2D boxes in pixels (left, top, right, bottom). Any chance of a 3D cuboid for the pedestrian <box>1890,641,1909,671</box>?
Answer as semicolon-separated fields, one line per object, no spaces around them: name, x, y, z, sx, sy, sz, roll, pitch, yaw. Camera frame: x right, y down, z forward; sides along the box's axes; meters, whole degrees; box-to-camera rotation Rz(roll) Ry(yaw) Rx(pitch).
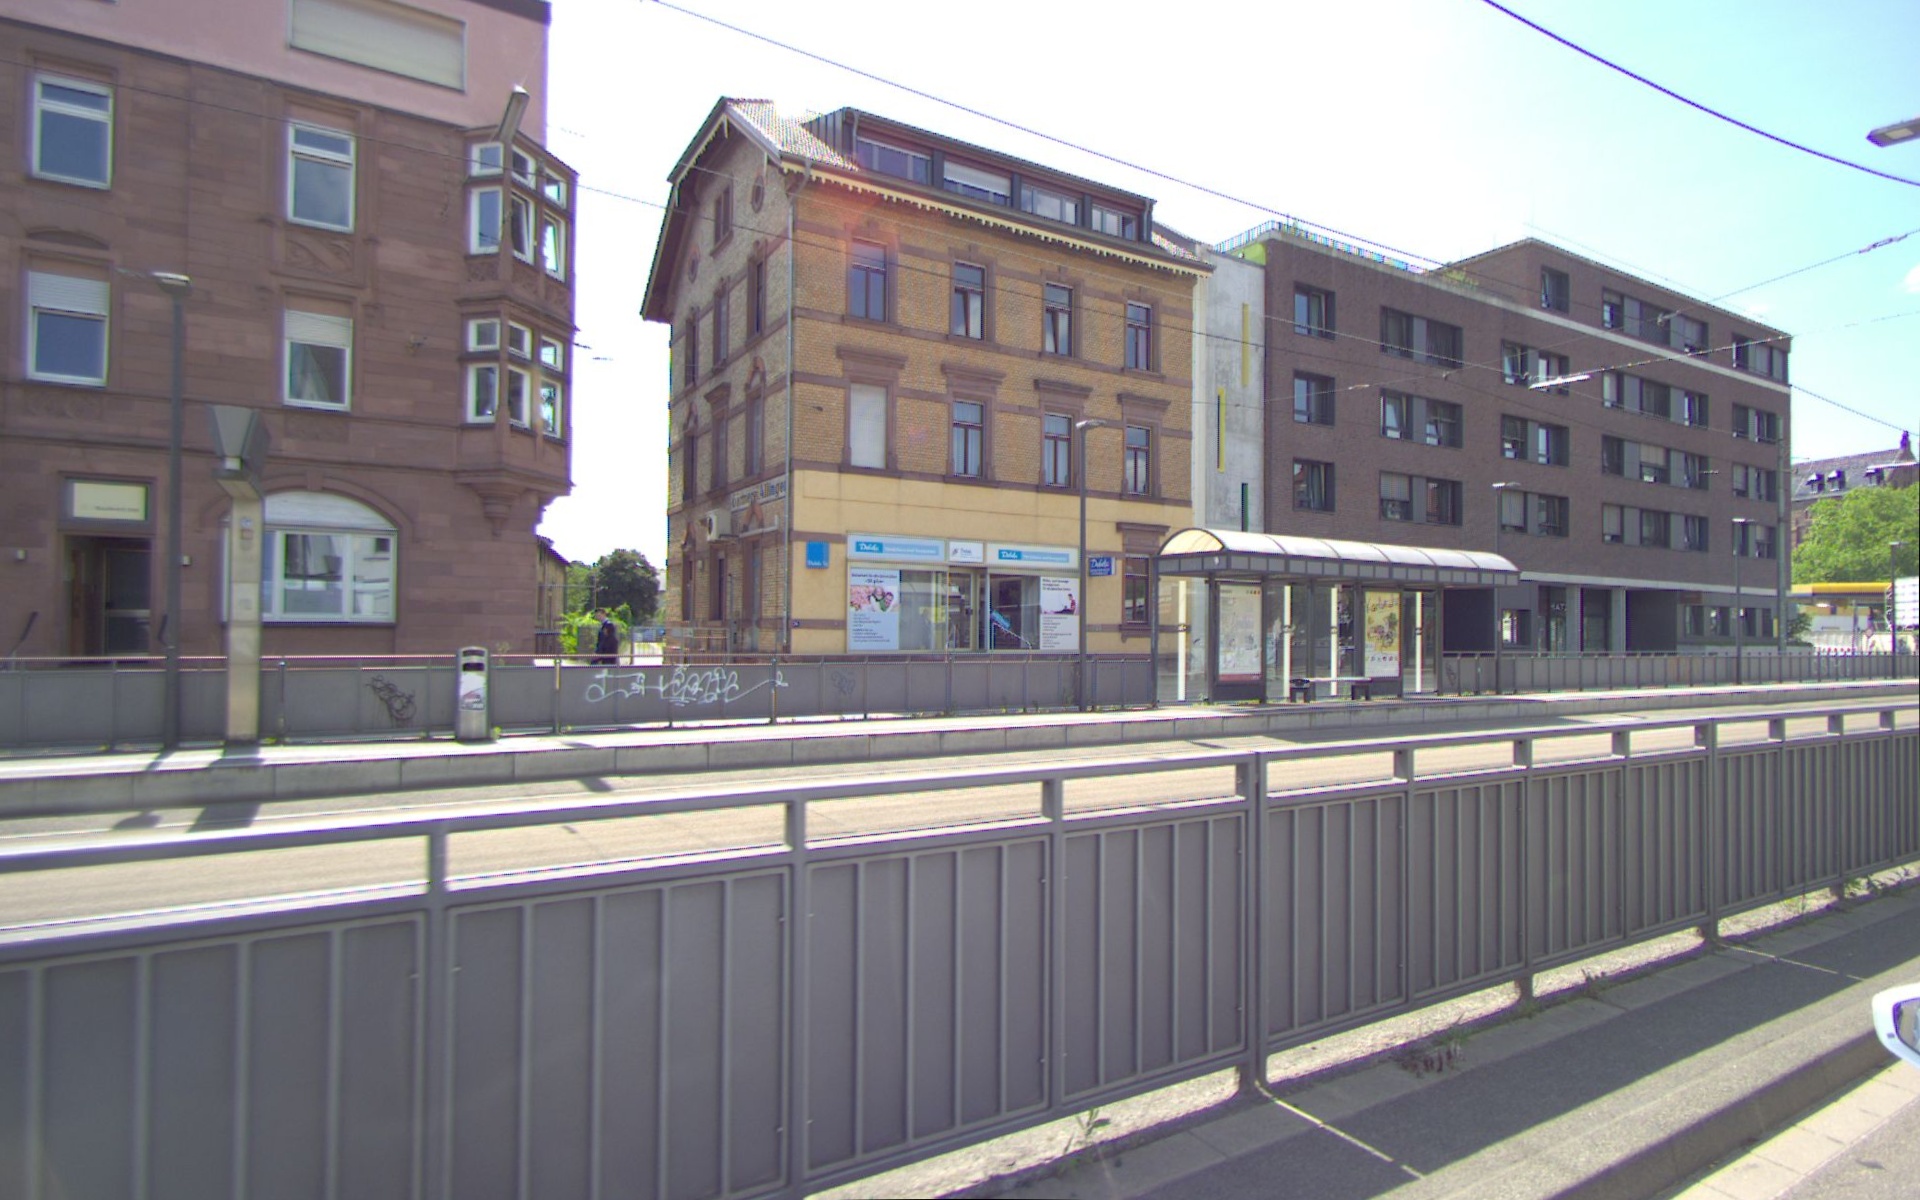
pedestrian;45.127;2.702;48.236;0.529;1.402;0.433;1;-5;-31

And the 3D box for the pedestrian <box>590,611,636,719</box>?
pedestrian;-6.747;1.248;19.519;0.677;2.040;0.673;1;-2;-33

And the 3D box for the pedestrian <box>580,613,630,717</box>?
pedestrian;-7.160;1.302;20.264;0.801;2.040;0.614;1;-2;-33
